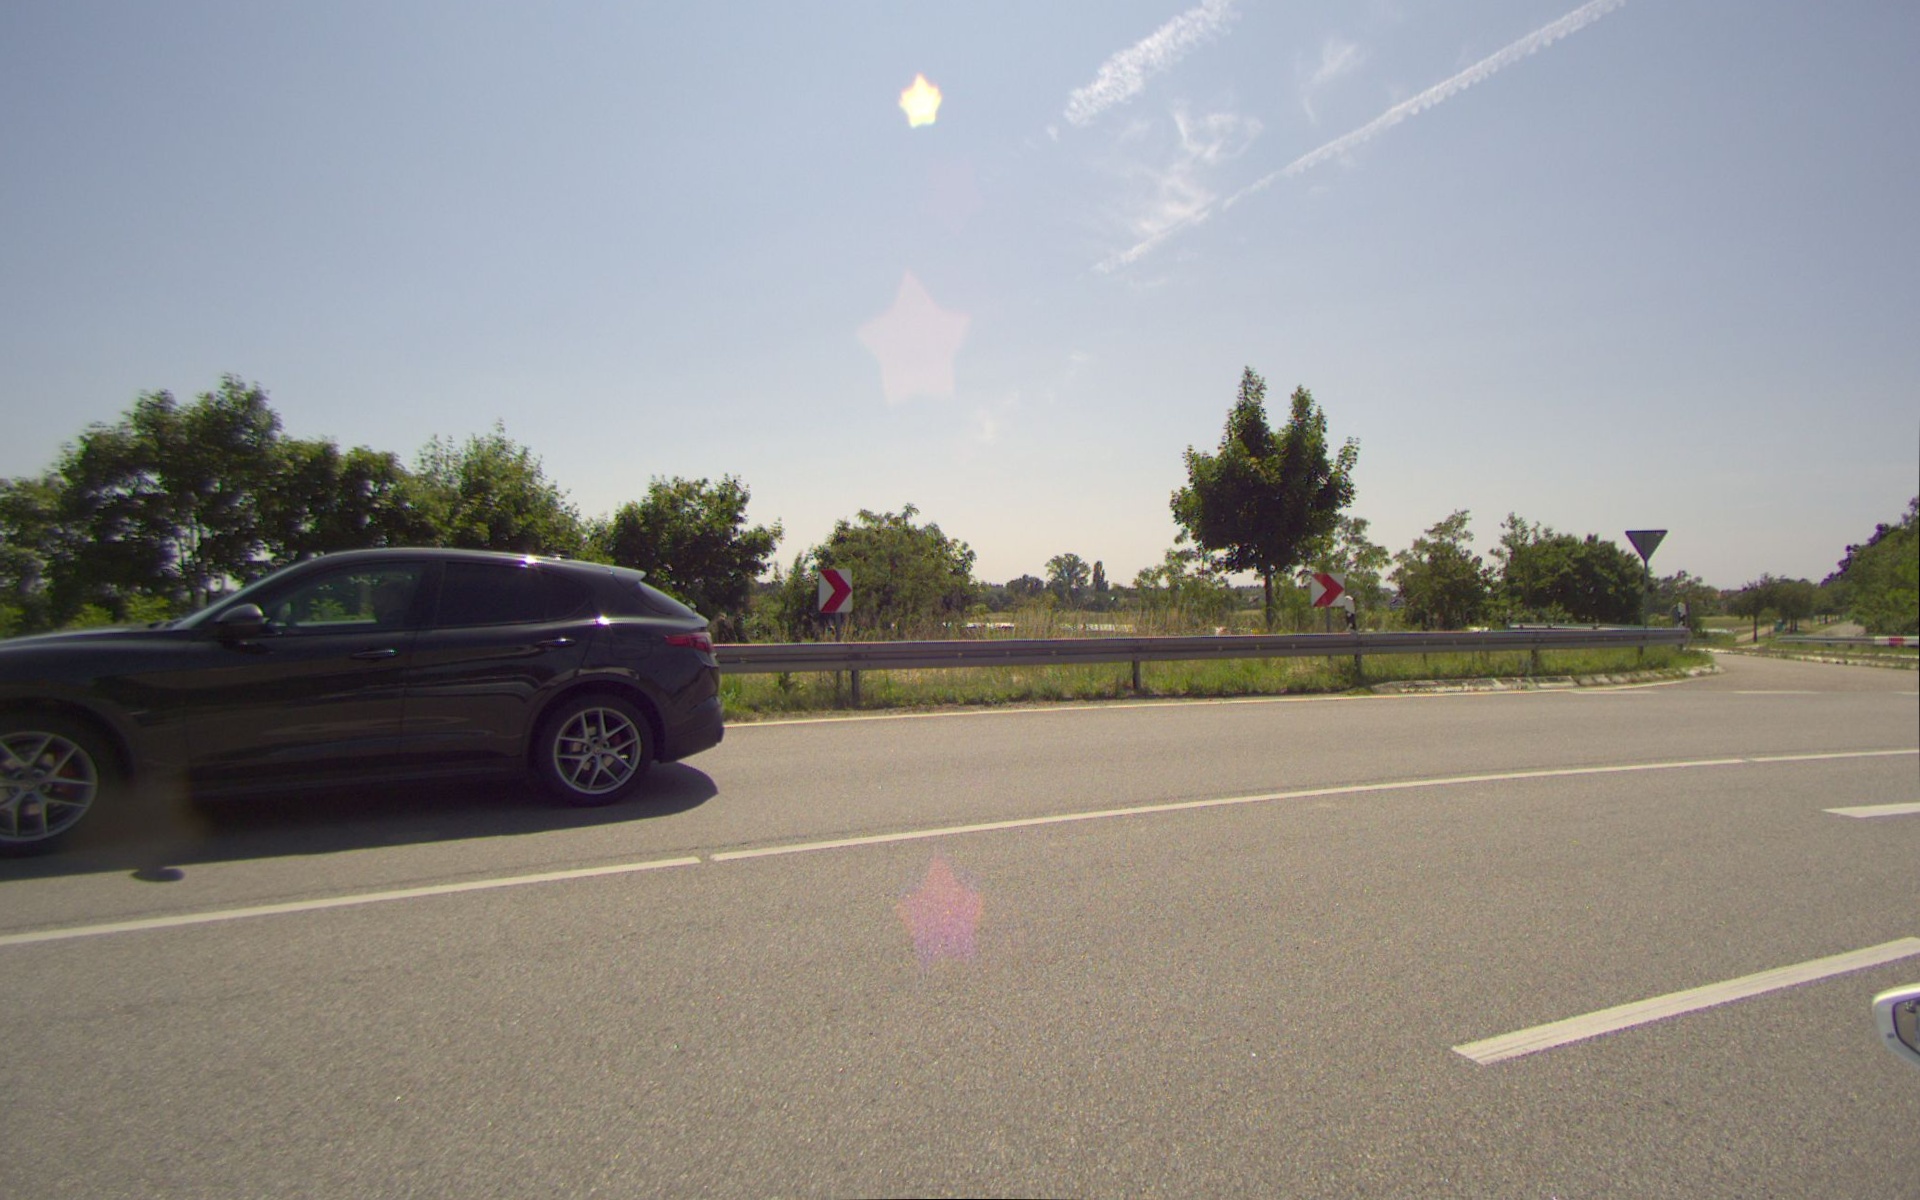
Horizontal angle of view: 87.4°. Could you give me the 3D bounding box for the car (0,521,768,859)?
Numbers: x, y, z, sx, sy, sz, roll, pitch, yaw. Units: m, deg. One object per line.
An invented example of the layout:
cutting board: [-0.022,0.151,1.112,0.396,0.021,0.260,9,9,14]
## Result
car: [-3.703,0.426,6.548,4.513,1.680,1.703,1,2,-30]
